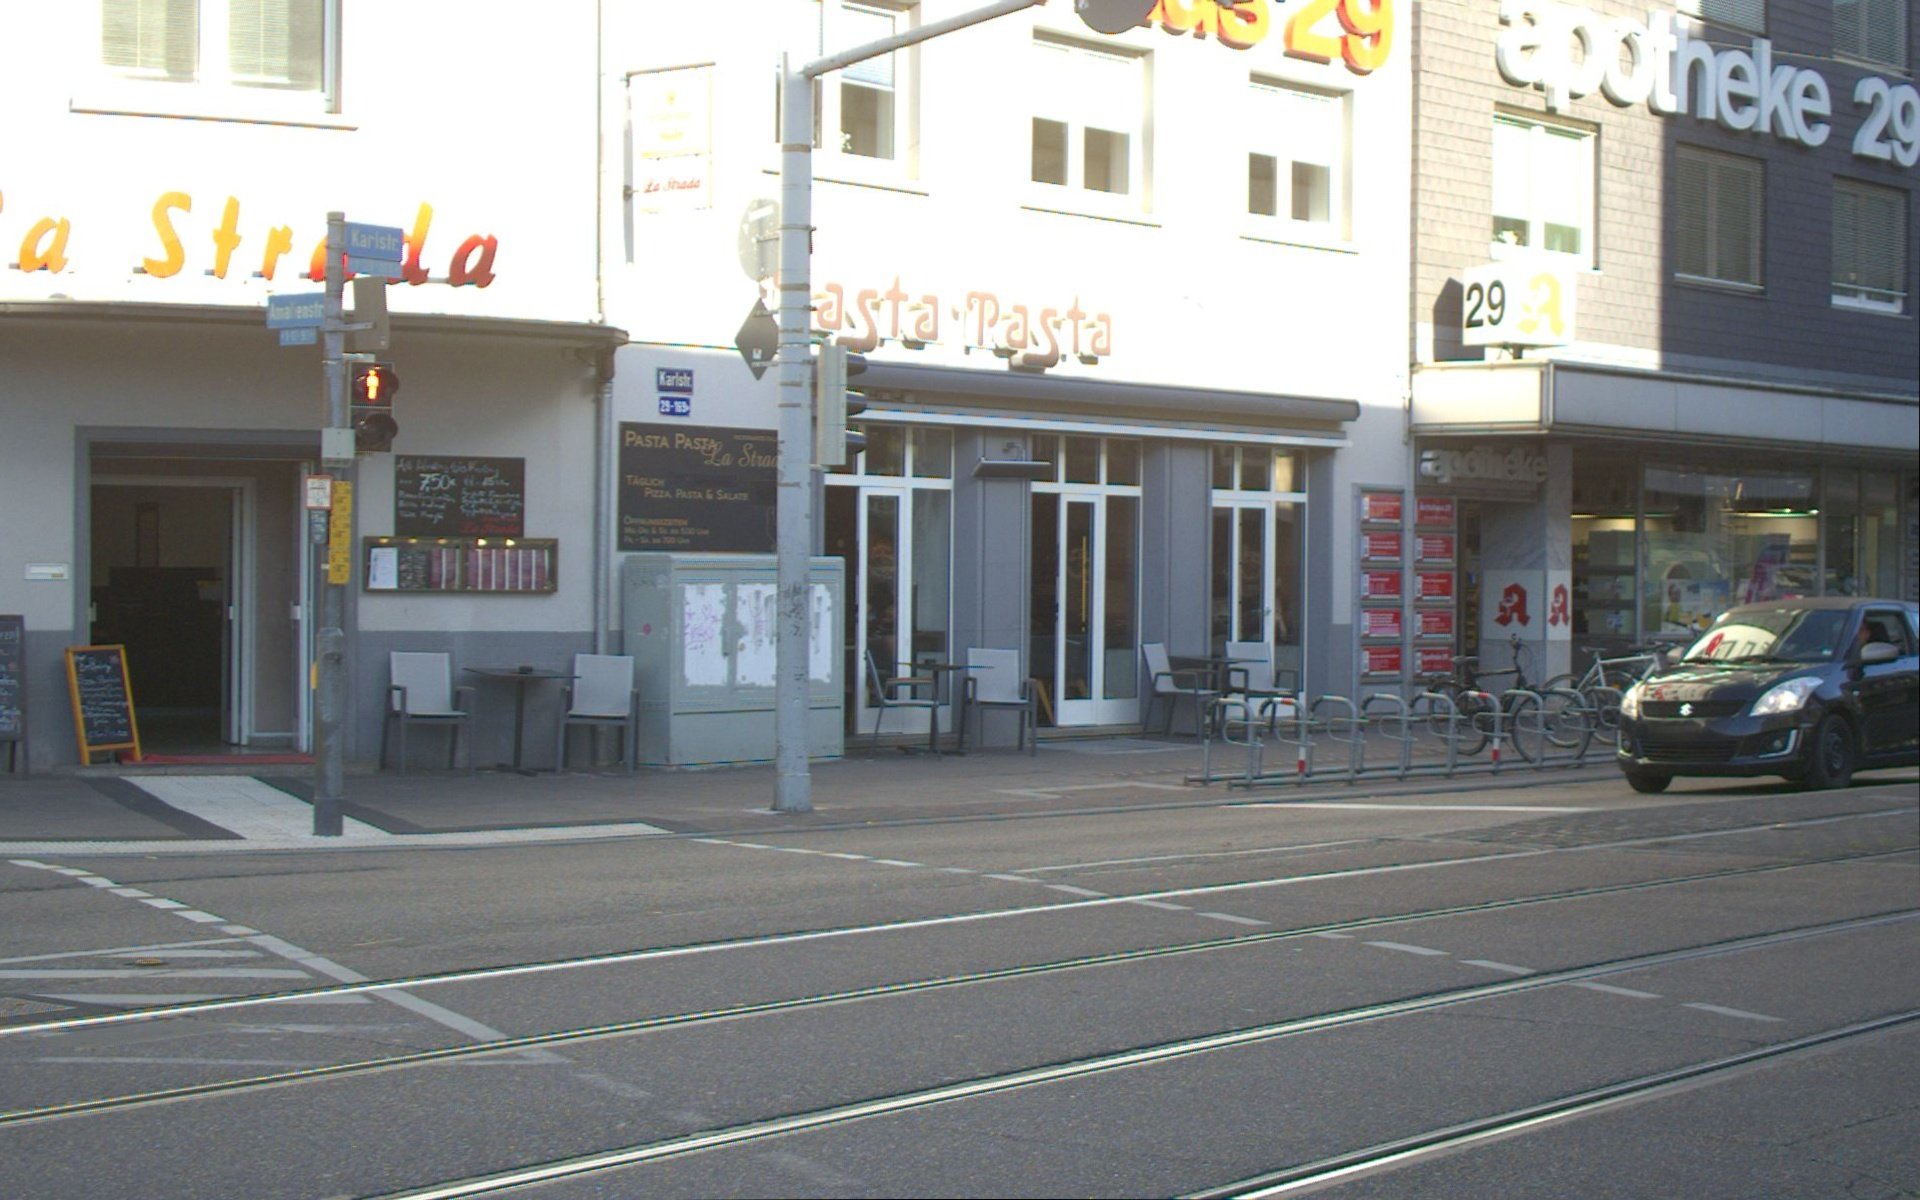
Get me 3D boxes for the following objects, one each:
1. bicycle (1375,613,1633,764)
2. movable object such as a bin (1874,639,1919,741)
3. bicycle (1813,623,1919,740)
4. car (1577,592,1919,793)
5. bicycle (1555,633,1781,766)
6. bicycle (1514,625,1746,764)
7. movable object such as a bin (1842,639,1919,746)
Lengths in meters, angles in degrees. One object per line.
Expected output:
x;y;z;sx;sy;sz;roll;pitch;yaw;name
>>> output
4.822;0.765;30.556;2.107;1.219;0.772;3;1;35;bicycle
10.495;0.980;36.875;1.102;1.060;0.697;3;2;41;movable object such as a bin
9.894;0.848;35.670;1.938;1.186;0.550;1;0;37;bicycle
6.622;0.675;26.709;1.717;1.441;4.129;-2;-1;41;car
6.728;0.929;32.709;1.938;1.188;0.772;1;0;35;bicycle
6.241;0.868;32.084;1.938;1.168;0.772;3;2;35;bicycle
10.019;0.977;36.329;1.102;1.068;0.733;3;2;41;movable object such as a bin
